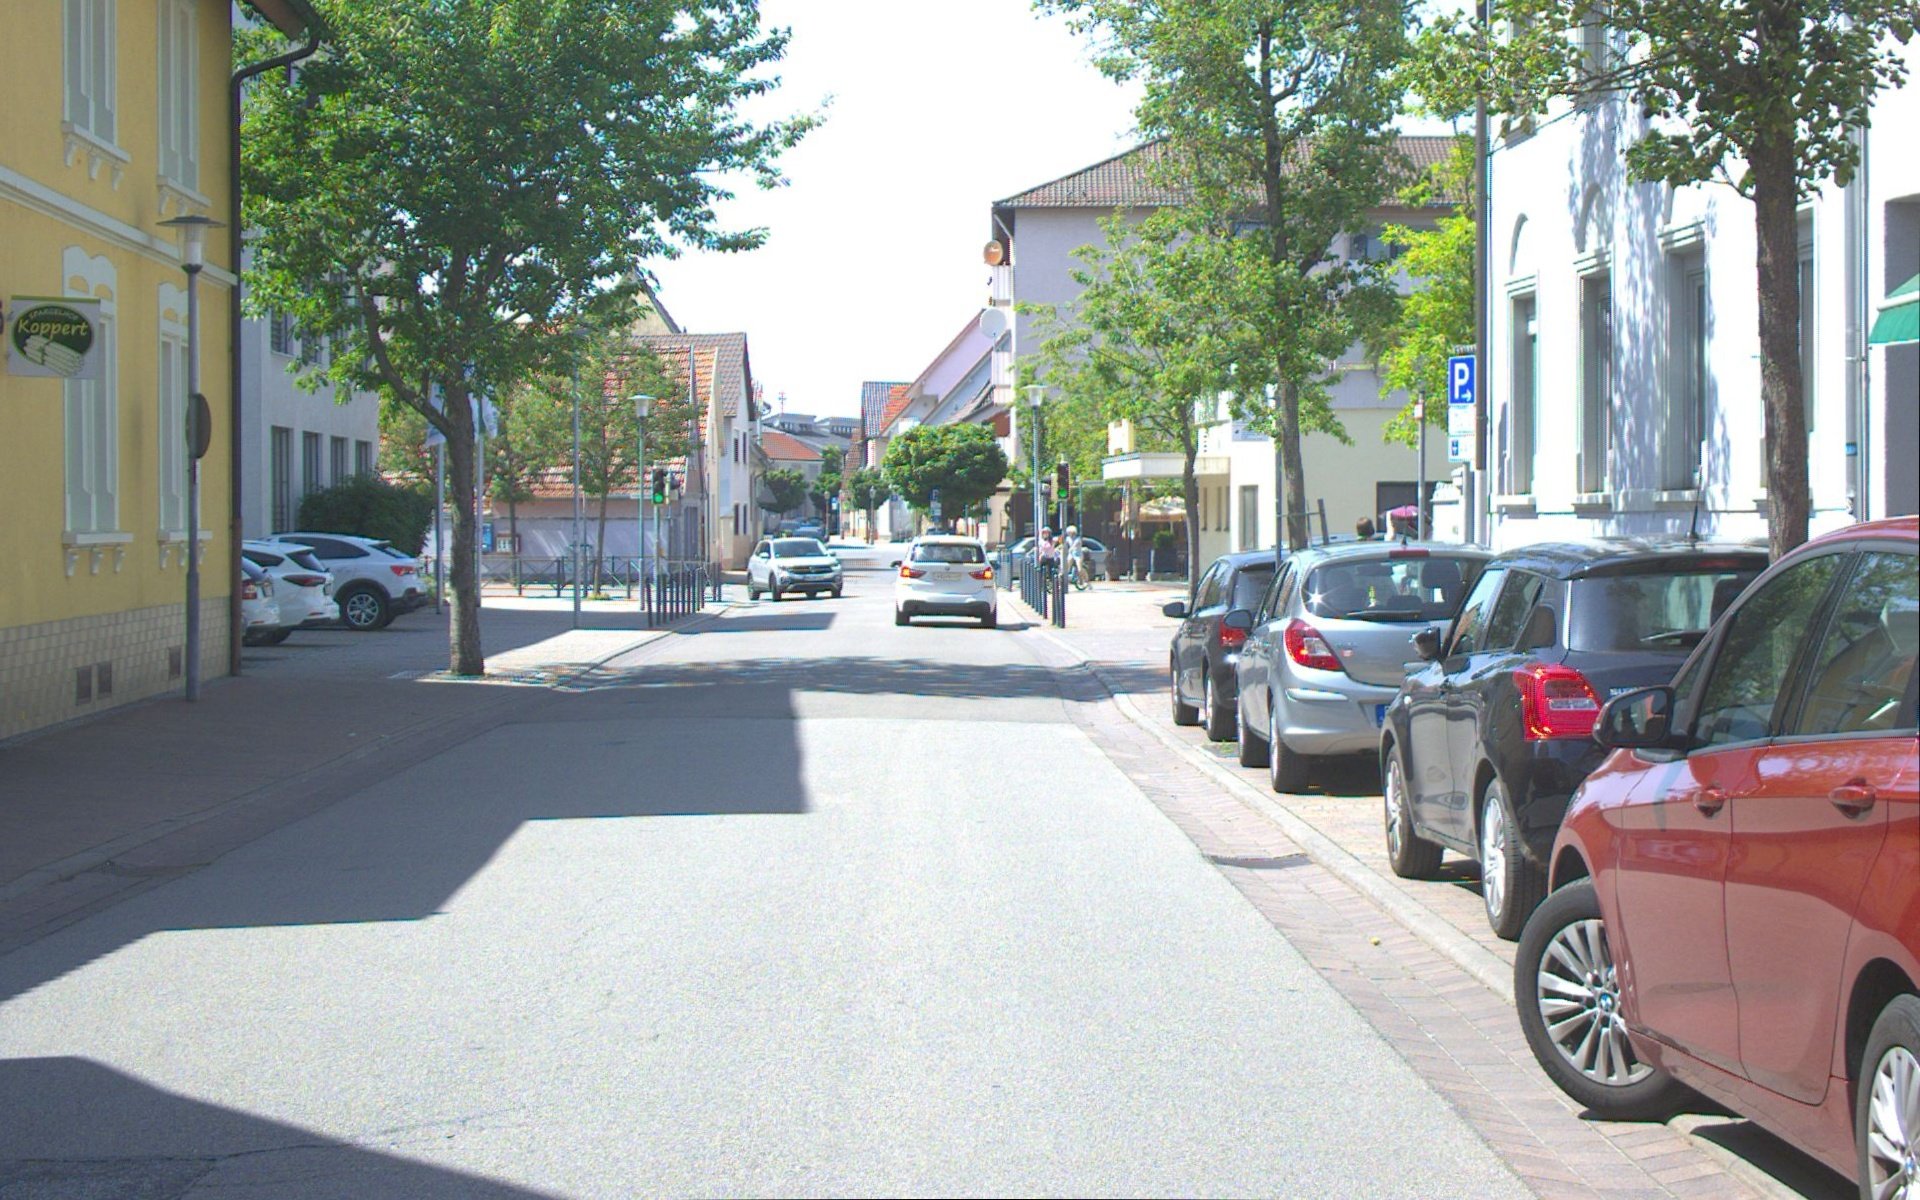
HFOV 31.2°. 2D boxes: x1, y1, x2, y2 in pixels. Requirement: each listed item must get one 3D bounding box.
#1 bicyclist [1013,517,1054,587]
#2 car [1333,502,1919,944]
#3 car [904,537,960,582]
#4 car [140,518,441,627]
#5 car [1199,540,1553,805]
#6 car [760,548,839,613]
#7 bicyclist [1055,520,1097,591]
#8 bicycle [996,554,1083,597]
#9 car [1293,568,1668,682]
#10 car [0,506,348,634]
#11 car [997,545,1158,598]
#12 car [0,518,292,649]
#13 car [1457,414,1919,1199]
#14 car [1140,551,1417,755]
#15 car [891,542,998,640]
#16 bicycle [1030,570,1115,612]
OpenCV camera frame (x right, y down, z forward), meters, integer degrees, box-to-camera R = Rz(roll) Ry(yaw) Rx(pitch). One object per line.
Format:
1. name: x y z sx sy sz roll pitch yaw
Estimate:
1. bicyclist: 1.693 -1.113 79.384 0.759 1.576 0.671 -1 1 -17
2. car: 2.675 0.465 14.097 1.737 1.508 3.735 2 -1 -1
3. car: -0.958 -1.411 119.430 1.805 1.496 4.000 1 1 1
4. car: -10.906 -0.441 56.265 4.506 1.549 2.148 3 0 -2
5. car: 2.537 0.384 21.853 1.717 1.476 4.096 2 1 0
6. car: -4.046 -0.492 87.043 1.851 1.568 4.000 1 0 -1
7. bicyclist: 2.737 -1.045 80.918 0.759 1.658 0.671 -1 0 -22
8. bicycle: 1.841 -0.567 79.447 1.889 0.954 0.676 -1 2 -17
9. car: 6.812 0.310 45.238 4.534 1.436 1.840 0 0 -7
10. car: -10.958 -0.396 47.855 4.503 1.549 1.935 3 -1 -1
11. car: 3.469 -0.850 101.722 4.420 1.459 1.887 1 0 -11
12. car: -10.492 -0.227 42.805 3.986 1.446 1.808 3 1 -3
13. car: 2.420 0.419 7.568 1.829 1.583 4.089 -1 2 -3
14. car: 2.493 0.368 27.769 1.703 1.476 3.922 2 1 -2
15. car: -0.283 -0.193 61.709 1.834 1.646 4.000 -1 1 0
16. bicycle: 2.646 -0.216 80.872 1.889 0.954 0.676 -1 1 -22
